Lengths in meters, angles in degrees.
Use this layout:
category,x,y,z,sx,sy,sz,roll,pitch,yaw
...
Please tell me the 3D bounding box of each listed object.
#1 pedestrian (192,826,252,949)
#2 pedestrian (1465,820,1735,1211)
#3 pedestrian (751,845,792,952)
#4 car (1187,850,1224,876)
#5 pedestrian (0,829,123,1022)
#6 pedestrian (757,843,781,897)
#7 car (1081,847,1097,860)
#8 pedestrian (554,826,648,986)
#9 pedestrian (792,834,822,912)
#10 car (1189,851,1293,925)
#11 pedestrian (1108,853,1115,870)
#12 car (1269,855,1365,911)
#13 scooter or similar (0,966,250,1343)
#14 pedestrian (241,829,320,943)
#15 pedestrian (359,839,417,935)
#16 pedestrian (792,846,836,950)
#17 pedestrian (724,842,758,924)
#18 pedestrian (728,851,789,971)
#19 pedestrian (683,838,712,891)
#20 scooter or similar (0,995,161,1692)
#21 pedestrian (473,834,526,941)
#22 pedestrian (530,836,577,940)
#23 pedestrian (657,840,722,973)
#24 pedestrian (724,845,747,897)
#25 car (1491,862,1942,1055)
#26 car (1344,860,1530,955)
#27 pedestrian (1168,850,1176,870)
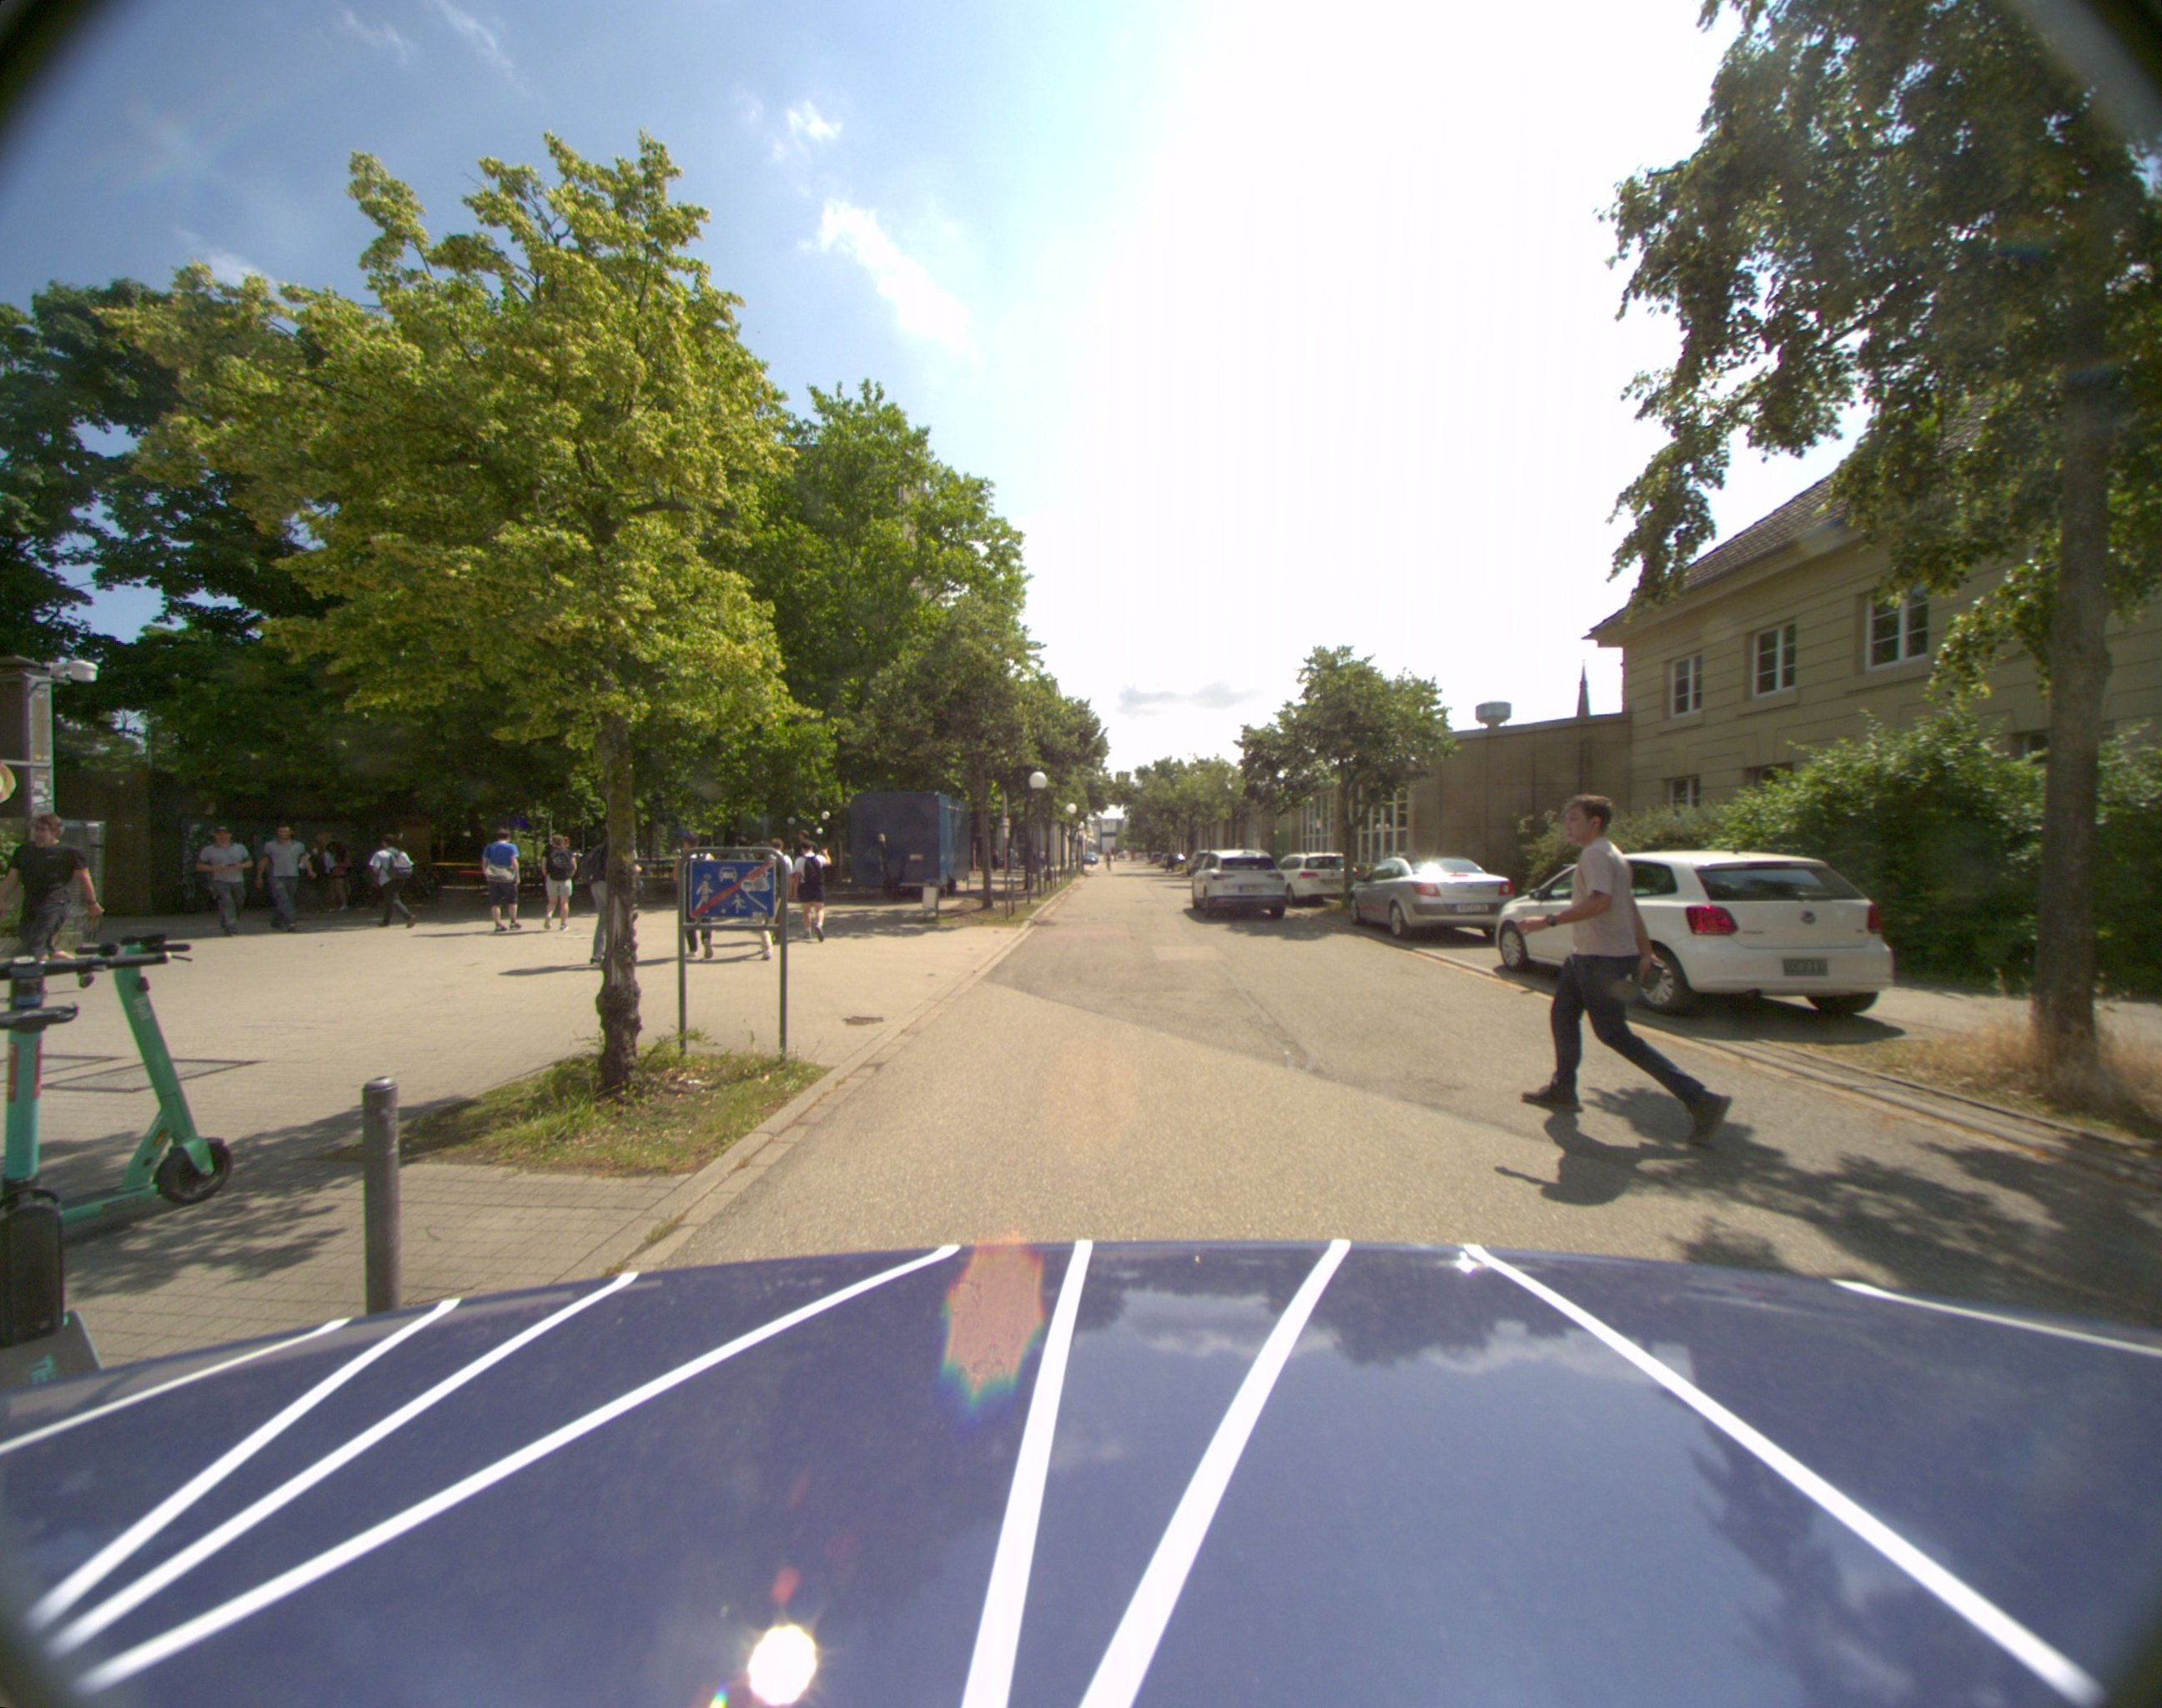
category,x,y,z,sx,sy,sz,roll,pitch,yaw
pedestrian,-13.983,0.542,12.368,0.888,1.917,0.567,-3,-1,37
pedestrian,2.828,0.732,4.165,1.092,1.776,0.985,1,1,39
pedestrian,-5.235,0.721,12.836,0.603,1.742,0.763,0,1,-26
car,7.931,0.539,48.807,1.932,1.624,4.373,0,0,3
pedestrian,-10.049,0.647,7.330,0.587,1.768,0.798,0,2,-12
pedestrian,-9.516,0.478,23.152,0.640,1.629,0.562,0,1,-25
car,0.969,-0.041,95.789,1.998,1.648,4.000,0,1,1
pedestrian,-6.213,0.630,9.880,0.984,1.934,0.976,0,1,-31
pedestrian,-6.597,0.451,18.297,0.640,1.859,0.536,0,1,-25
car,3.863,0.757,19.081,1.932,1.624,4.373,0,0,3
pedestrian,2.530,0.595,62.947,0.585,1.433,0.639,0,1,4
car,6.620,0.755,21.735,1.717,1.424,4.001,0,0,3
scooter or similar,-3.988,1.079,2.572,0.575,1.173,1.480,1,0,16
pedestrian,-13.792,0.554,13.098,0.970,1.875,0.670,-3,-1,27
pedestrian,-12.317,0.581,13.500,0.777,1.645,0.567,-3,-1,33
pedestrian,-4.621,0.737,13.131,0.623,1.729,0.773,0,1,-26
pedestrian,-7.177,0.594,16.011,0.640,1.697,0.713,0,1,-25
pedestrian,-4.682,0.785,11.008,0.752,1.663,0.844,0,1,-27
pedestrian,-12.885,0.344,25.535,0.669,1.755,0.797,-1,0,-13
scooter or similar,-2.718,1.067,1.837,1.261,1.226,0.577,1,0,37
pedestrian,-10.023,0.564,13.116,0.566,1.783,0.643,0,1,-21
pedestrian,-9.314,0.588,13.438,0.542,1.783,0.643,0,1,-21
pedestrian,-5.470,0.707,10.659,0.783,1.781,0.713,0,1,-25
pedestrian,-10.369,0.496,22.798,0.640,1.548,0.574,0,1,-25
car,5.898,0.831,7.710,1.634,1.423,3.633,0,1,2
car,6.114,0.835,13.594,1.648,1.368,4.001,0,0,3
pedestrian,7.399,0.495,61.844,0.536,1.672,0.586,1,1,19
